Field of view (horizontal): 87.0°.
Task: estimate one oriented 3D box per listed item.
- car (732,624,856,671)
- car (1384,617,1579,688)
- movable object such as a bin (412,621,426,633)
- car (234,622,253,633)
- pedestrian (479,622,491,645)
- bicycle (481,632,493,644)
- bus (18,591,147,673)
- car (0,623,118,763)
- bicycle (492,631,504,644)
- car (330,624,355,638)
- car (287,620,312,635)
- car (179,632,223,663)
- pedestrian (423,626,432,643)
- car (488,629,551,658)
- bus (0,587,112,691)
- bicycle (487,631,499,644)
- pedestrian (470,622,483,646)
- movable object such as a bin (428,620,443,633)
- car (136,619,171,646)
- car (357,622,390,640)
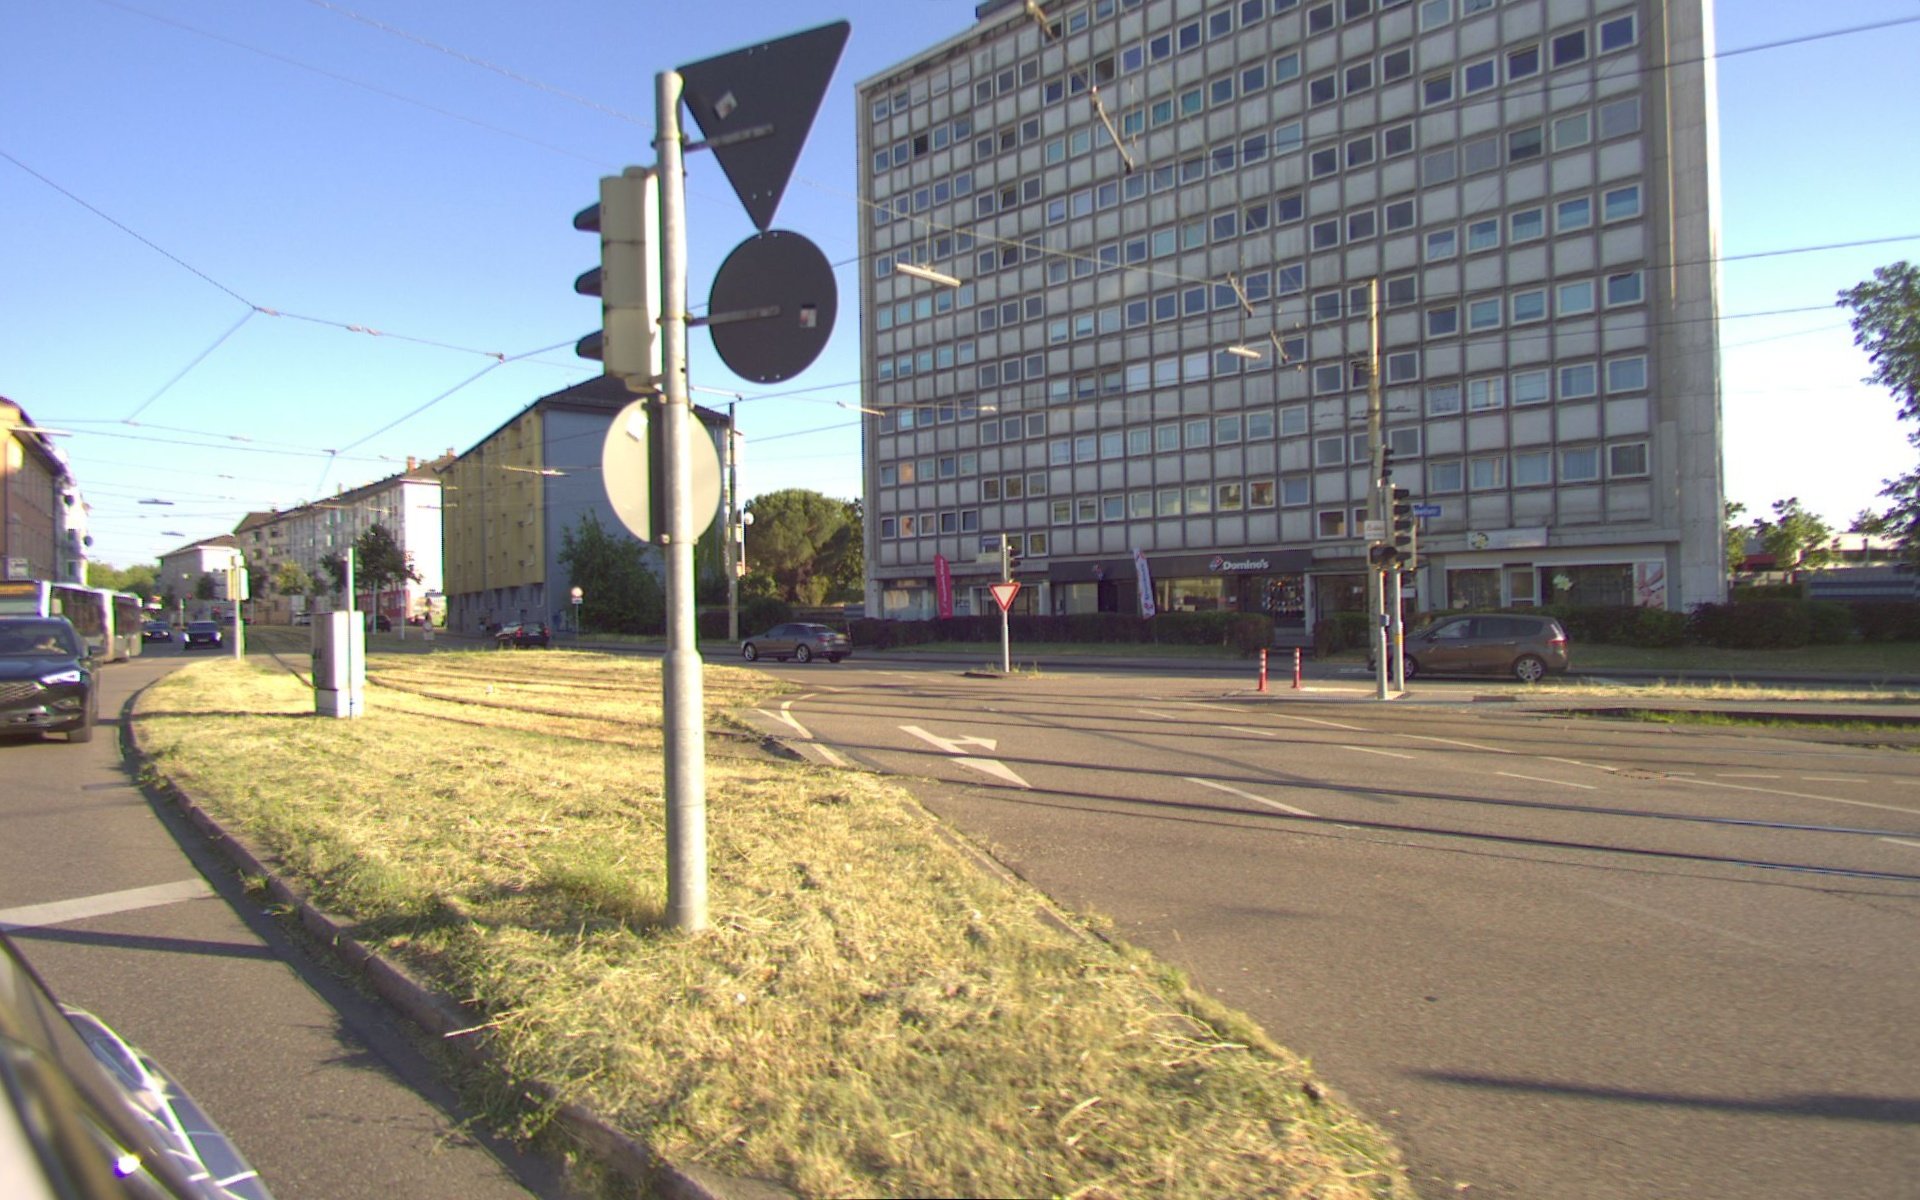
[{"bbox_3d":[-6.046,1.688,36.676,4.574,1.608,1.638,-1,-1,34],"label":"car"},{"bbox_3d":[12.708,1.256,24.914,4.129,1.607,1.572,-1,0,26],"label":"car"},{"bbox_3d":[-59.067,2.982,110.523,1.144,1.296,0.807,0,-1,-43],"label":"movable object such as a bin"},{"bbox_3d":[-105.977,4.081,149.625,1.771,1.480,4.803,2,-2,-41],"label":"car"},{"bbox_3d":[-36.024,2.560,76.747,0.608,1.707,0.707,-6,2,-38],"label":"pedestrian"},{"bbox_3d":[-36.631,2.934,78.400,0.421,0.932,1.916,-4,1,-37],"label":"bicycle"},{"bbox_3d":[-37.409,1.244,43.511,2.668,3.100,10.630,-1,0,-33],"label":"bus"},{"bbox_3d":[-12.620,1.145,13.464,1.759,1.636,4.227,1,-2,-34],"label":"car"},{"bbox_3d":[-34.708,2.802,75.955,0.421,0.967,1.916,0,-1,-37],"label":"bicycle"},{"bbox_3d":[-67.576,3.362,110.702,1.676,1.471,4.323,2,-2,-40],"label":"car"},{"bbox_3d":[-87.851,3.654,134.607,4.423,1.843,1.845,-2,-2,44],"label":"car"},{"bbox_3d":[-45.795,2.866,61.121,1.967,1.785,4.009,1,-2,-36],"label":"car"},{"bbox_3d":[-54.282,3.486,103.224,0.606,1.702,0.792,-1,-1,-43],"label":"pedestrian"},{"bbox_3d":[-23.857,2.306,54.744,1.755,1.493,4.404,2,-2,-43],"label":"car"},{"bbox_3d":[-31.612,1.182,34.577,2.687,3.100,10.630,-1,0,-33],"label":"bus"},{"bbox_3d":[-35.766,2.894,77.494,0.421,0.932,1.916,-4,2,-37],"label":"bicycle"},{"bbox_3d":[-36.165,2.547,75.679,0.585,1.786,0.887,-6,2,-38],"label":"pedestrian"},{"bbox_3d":[-57.201,2.880,110.344,1.202,1.426,1.109,0,-1,-42],"label":"movable object such as a bin"},{"bbox_3d":[-59.165,2.374,74.319,1.862,1.896,4.009,1,-2,-37],"label":"car"},{"bbox_3d":[-55.288,2.933,95.359,1.894,1.674,4.717,1,-3,-39],"label":"car"}]
